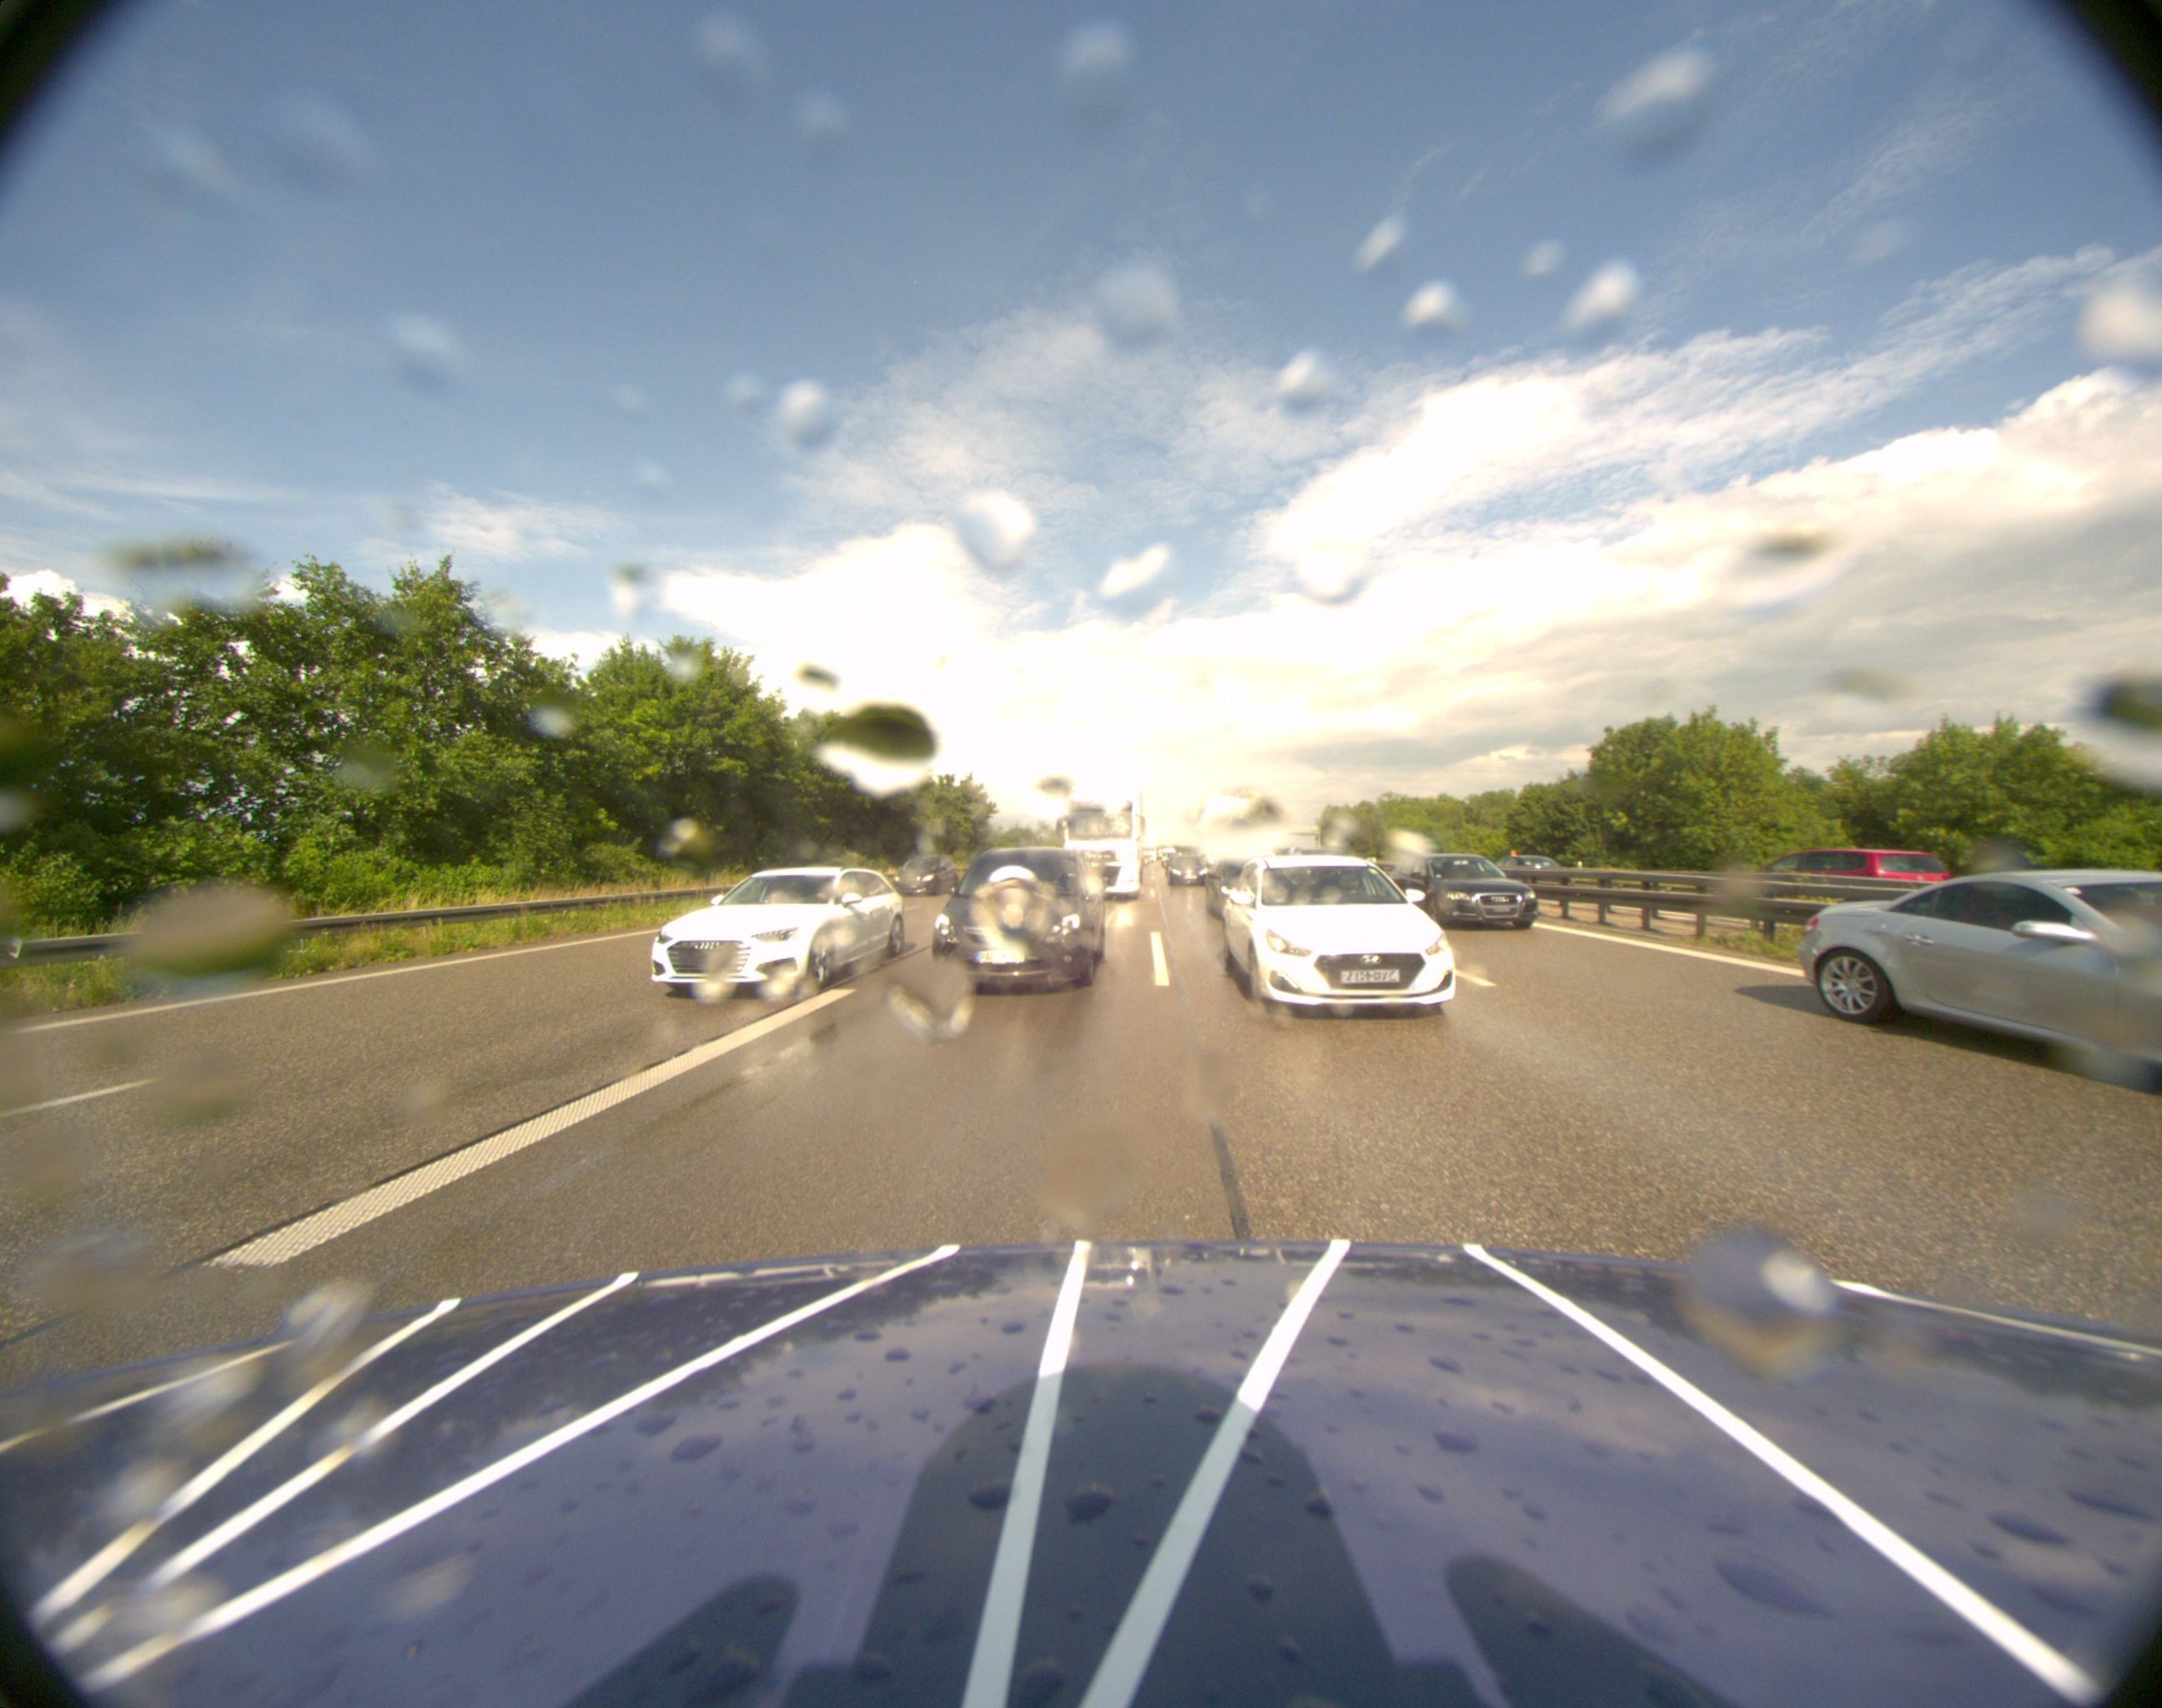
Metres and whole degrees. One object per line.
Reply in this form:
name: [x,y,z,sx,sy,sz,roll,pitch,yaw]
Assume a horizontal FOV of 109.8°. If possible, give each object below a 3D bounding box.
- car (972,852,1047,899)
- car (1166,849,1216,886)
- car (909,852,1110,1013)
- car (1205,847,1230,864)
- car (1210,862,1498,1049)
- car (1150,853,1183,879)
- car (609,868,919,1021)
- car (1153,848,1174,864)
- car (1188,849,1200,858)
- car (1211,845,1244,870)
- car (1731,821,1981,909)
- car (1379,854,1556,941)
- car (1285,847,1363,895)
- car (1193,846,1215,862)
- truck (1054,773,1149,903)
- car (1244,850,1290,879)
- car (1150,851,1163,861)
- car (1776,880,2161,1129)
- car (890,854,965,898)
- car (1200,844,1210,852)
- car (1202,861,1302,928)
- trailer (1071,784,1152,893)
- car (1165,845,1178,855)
car: [-2.546,0.747,28.389,1.998,1.572,4.654,-1,0,4]
car: [5.060,0.598,35.511,1.998,1.477,4.000,-2,1,4]
car: [-0.662,0.812,10.051,1.883,1.638,4.397,-1,0,4]
car: [13.265,0.085,73.975,1.998,1.471,4.000,-2,1,4]
car: [2.615,0.861,8.494,1.885,1.446,4.549,-1,0,4]
car: [5.716,0.766,51.088,1.998,1.471,4.000,-2,1,4]
car: [-3.773,0.987,10.100,1.830,1.417,4.512,-2,1,6]
car: [8.497,0.227,78.804,1.998,1.471,4.000,-2,1,4]
car: [23.211,-0.080,155.836,1.998,1.687,4.000,-2,1,4]
car: [11.462,0.259,59.595,1.998,1.739,4.000,-2,1,4]
car: [19.929,0.241,19.913,1.998,2.002,4.654,-1,0,4]
car: [7.518,0.762,15.274,1.770,1.417,4.140,-2,1,6]
car: [8.889,0.577,28.122,1.874,1.597,4.230,-1,1,6]
car: [14.038,-0.051,86.942,1.998,1.687,4.000,-2,1,4]
truck: [0.981,-0.556,28.071,2.816,4.083,7.448,-2,1,6]
car: [10.087,0.540,41.471,1.771,1.371,4.000,-1,1,4]
car: [13.312,0.363,134.049,1.998,1.687,4.000,-2,1,4]
car: [6.968,0.890,4.756,1.728,1.270,4.064,-1,0,4]
car: [-6.202,0.831,31.123,1.824,1.611,4.365,-2,0,5]
car: [28.306,-1.478,173.665,1.998,1.768,4.462,-1,0,5]
car: [3.962,0.883,18.267,1.728,1.330,4.288,-1,0,4]
trailer: [1.706,-0.644,34.699,2.789,4.083,11.542,-2,1,6]
car: [16.633,-0.814,139.821,1.998,1.687,4.000,-2,1,4]
